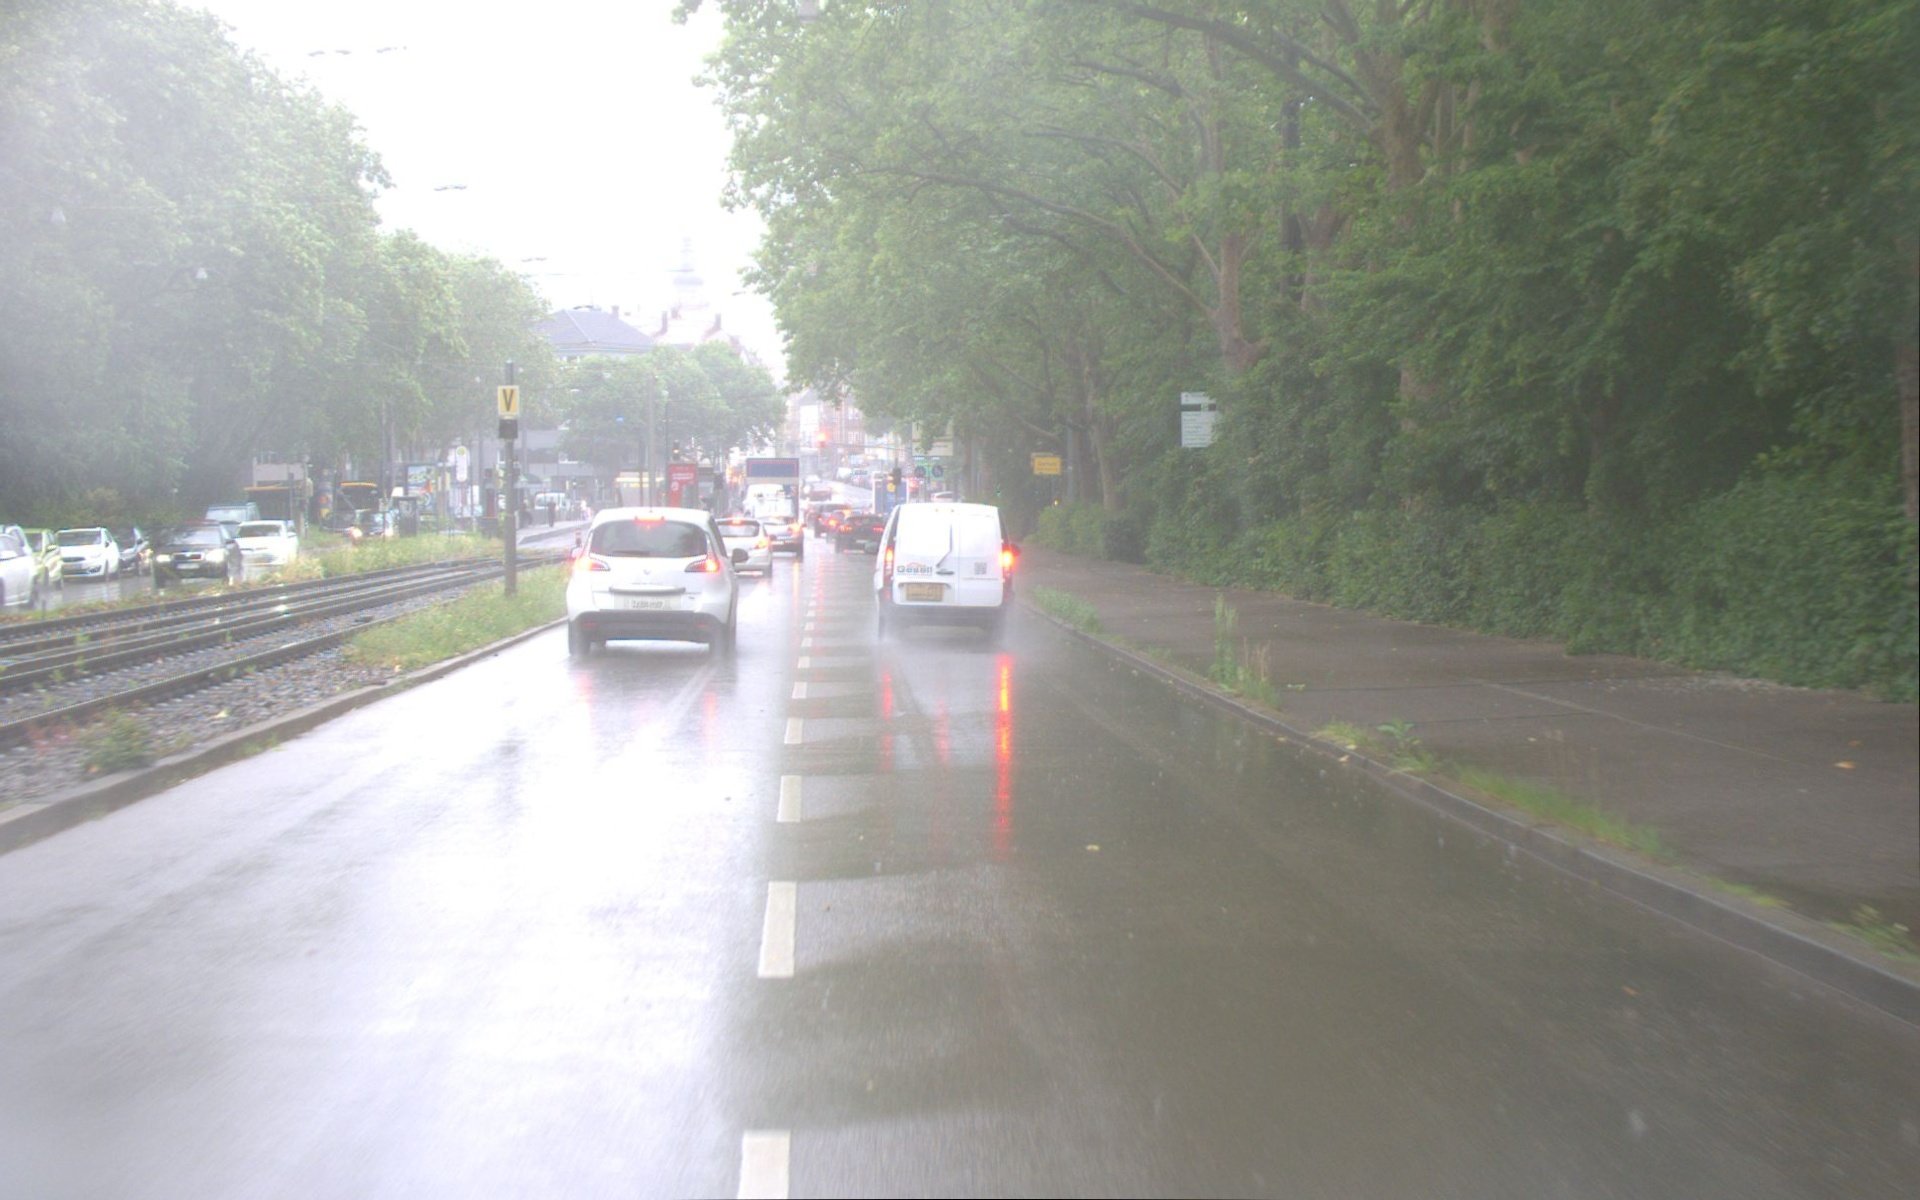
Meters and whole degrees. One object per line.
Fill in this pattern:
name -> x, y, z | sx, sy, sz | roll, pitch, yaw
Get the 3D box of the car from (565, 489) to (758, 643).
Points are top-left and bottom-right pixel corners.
car -> -3.339, -0.417, 39.168 | 1.864, 1.618, 4.263 | 1, 1, -1

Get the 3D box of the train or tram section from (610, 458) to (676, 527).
train or tram section -> -15.666, -5.377, 170.342 | 2.961, 3.274, 8.362 | -1, 3, -4

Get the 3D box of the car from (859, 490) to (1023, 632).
car -> -0.295, -0.514, 45.285 | 1.959, 1.771, 3.570 | 1, 1, -3

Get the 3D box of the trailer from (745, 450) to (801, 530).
trailer -> -9.387, -5.515, 172.008 | 2.590, 3.886, 7.638 | 1, 2, -4

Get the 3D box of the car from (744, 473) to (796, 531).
car -> -8.790, -4.526, 159.275 | 2.329, 2.548, 6.115 | 1, 1, -3

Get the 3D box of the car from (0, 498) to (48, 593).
car -> -16.720, -0.903, 57.370 | 2.033, 1.547, 4.998 | -1, 2, -5

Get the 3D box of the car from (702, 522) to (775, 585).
car -> -5.396, -1.138, 84.024 | 1.725, 1.474, 3.806 | 1, 1, -3

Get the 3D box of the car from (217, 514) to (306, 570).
car -> -20.459, -1.723, 100.866 | 1.978, 1.561, 4.770 | -1, 2, -5

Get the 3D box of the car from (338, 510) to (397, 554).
car -> -24.504, -2.820, 142.228 | 2.031, 1.745, 4.261 | -1, 2, -5

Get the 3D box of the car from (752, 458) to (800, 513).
car -> -7.920, -4.915, 147.862 | 1.993, 2.254, 5.289 | 1, 1, -3

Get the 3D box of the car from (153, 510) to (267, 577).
car -> -18.293, -1.402, 84.016 | 2.033, 1.547, 4.567 | -1, 2, -4

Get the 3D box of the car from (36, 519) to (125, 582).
car -> -24.028, -1.363, 94.023 | 1.761, 1.642, 3.814 | -1, 2, -5

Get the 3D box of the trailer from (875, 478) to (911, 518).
trailer -> -4.031, -6.100, 206.604 | 1.993, 2.309, 4.669 | 1, 1, -3

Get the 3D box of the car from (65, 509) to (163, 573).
car -> -24.331, -1.719, 99.010 | 2.031, 1.745, 4.695 | -1, 2, -5

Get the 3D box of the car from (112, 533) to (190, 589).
car -> -25.162, -1.220, 107.049 | 2.031, 1.652, 4.612 | 0, 1, -9
